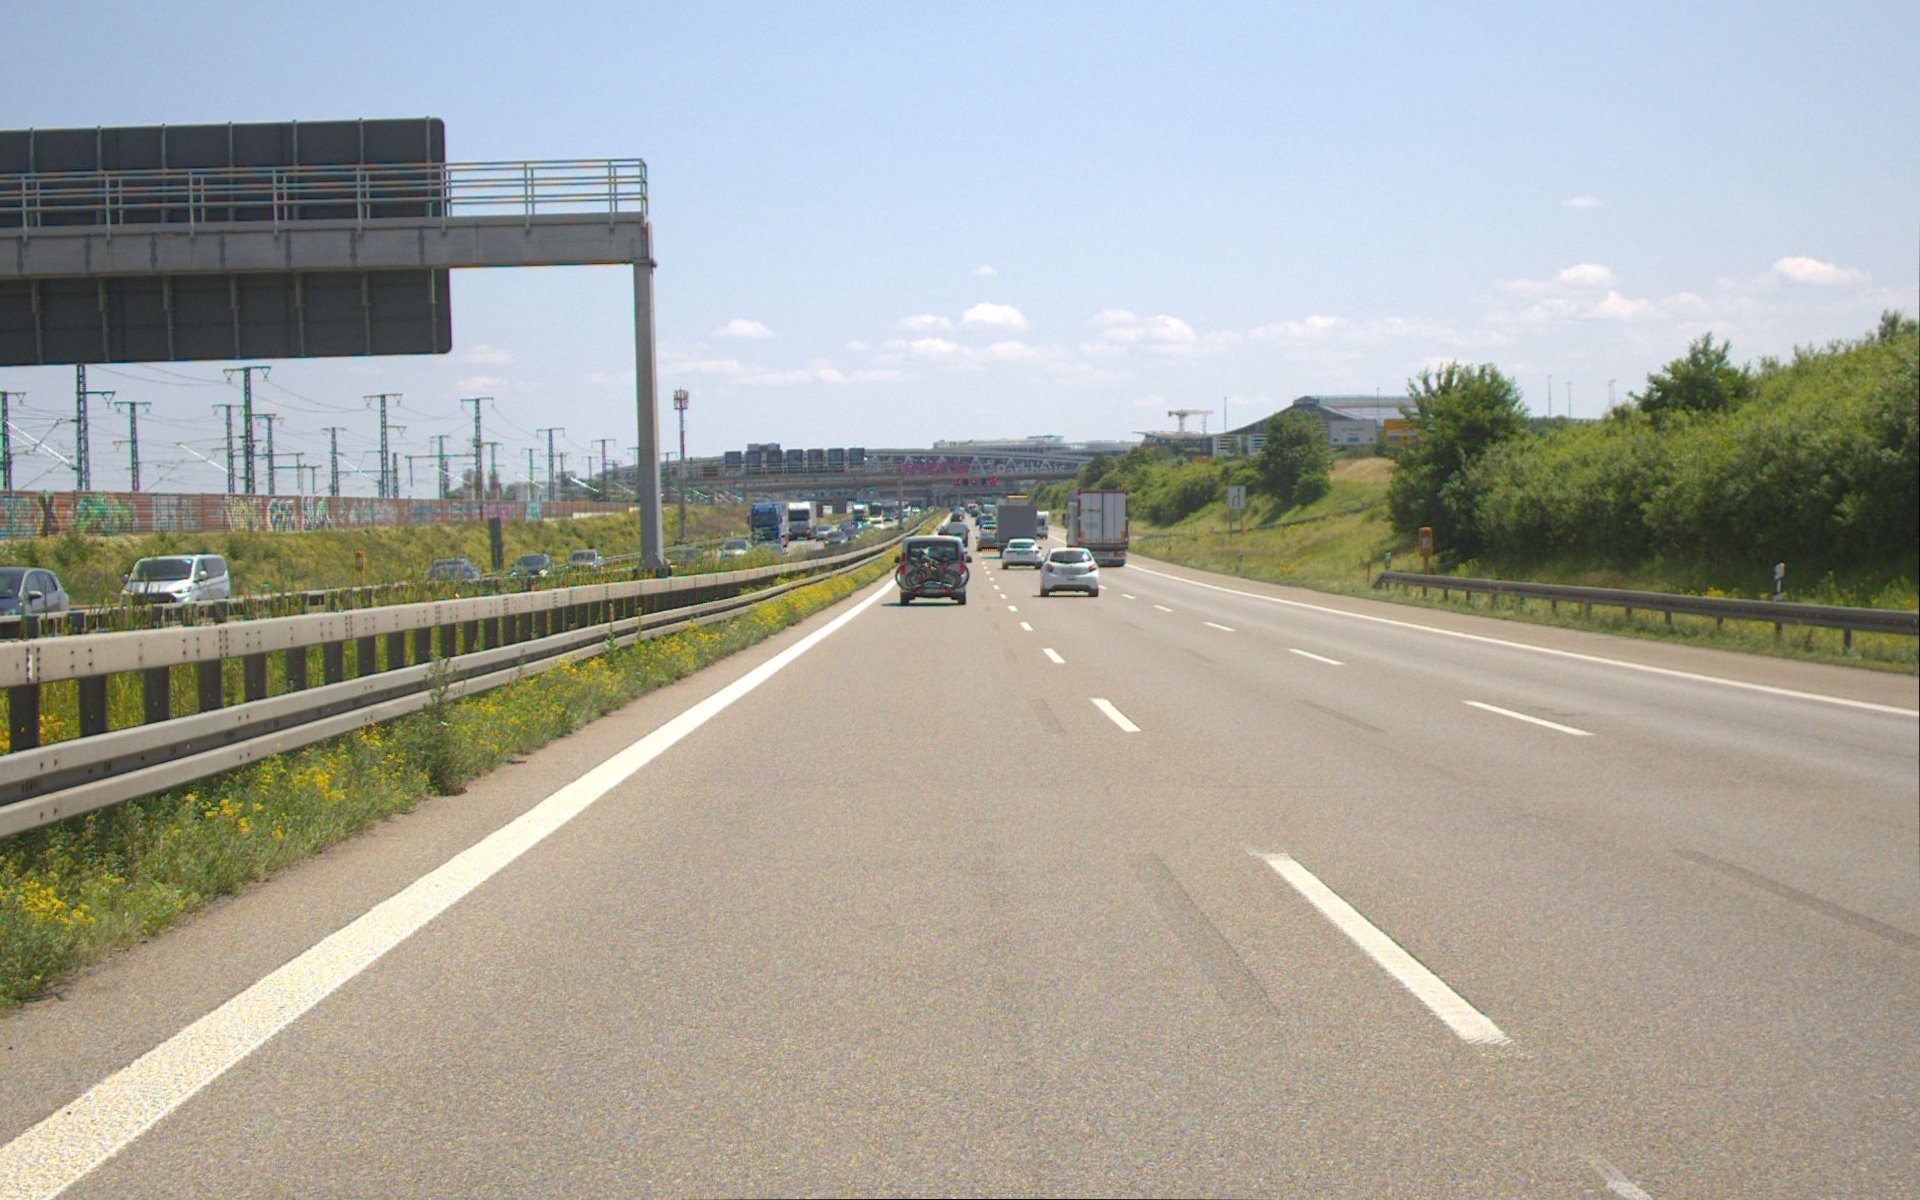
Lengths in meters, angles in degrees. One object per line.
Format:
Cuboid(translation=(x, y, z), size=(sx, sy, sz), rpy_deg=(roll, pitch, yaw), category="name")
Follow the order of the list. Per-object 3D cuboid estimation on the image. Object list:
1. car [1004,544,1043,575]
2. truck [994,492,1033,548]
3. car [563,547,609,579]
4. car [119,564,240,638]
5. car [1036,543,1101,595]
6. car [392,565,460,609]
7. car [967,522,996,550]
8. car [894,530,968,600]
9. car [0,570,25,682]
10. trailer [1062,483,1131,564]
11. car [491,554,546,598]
Cuboid(translation=(3.140, -1.994, 169.100), size=(1.881, 1.521, 4.000), rpy_deg=(0, 1, 1), category="car")
Cuboid(translation=(3.329, -4.983, 213.908), size=(2.355, 3.404, 6.057), rpy_deg=(0, 1, 0), category="truck")
Cuboid(translation=(-20.431, -2.054, 187.895), size=(1.993, 1.720, 4.513), rpy_deg=(0, 1, 0), category="car")
Cuboid(translation=(-20.786, 0.008, 91.728), size=(1.993, 1.879, 4.977), rpy_deg=(0, 1, 1), category="car")
Cuboid(translation=(3.278, -0.953, 103.529), size=(1.881, 1.521, 4.000), rpy_deg=(0, 1, 3), category="car")
Cuboid(translation=(-21.467, -0.547, 138.311), size=(1.993, 1.720, 4.513), rpy_deg=(0, 1, 1), category="car")
Cuboid(translation=(1.523, -4.560, 245.360), size=(1.993, 2.007, 4.000), rpy_deg=(0, 1, 0), category="car")
Cuboid(translation=(-0.755, -0.935, 91.055), size=(1.881, 1.769, 4.000), rpy_deg=(-1, 1, 0), category="car")
Cuboid(translation=(-13.658, 0.354, 44.552), size=(1.929, 1.478, 4.477), rpy_deg=(0, 1, -1), category="car")
Cuboid(translation=(7.128, -4.054, 180.798), size=(3.177, 4.045, 9.440), rpy_deg=(-1, 2, 0), category="trailer")
Cuboid(translation=(-20.841, -1.120, 162.408), size=(1.993, 2.007, 4.309), rpy_deg=(1, 0, 0), category="car")
